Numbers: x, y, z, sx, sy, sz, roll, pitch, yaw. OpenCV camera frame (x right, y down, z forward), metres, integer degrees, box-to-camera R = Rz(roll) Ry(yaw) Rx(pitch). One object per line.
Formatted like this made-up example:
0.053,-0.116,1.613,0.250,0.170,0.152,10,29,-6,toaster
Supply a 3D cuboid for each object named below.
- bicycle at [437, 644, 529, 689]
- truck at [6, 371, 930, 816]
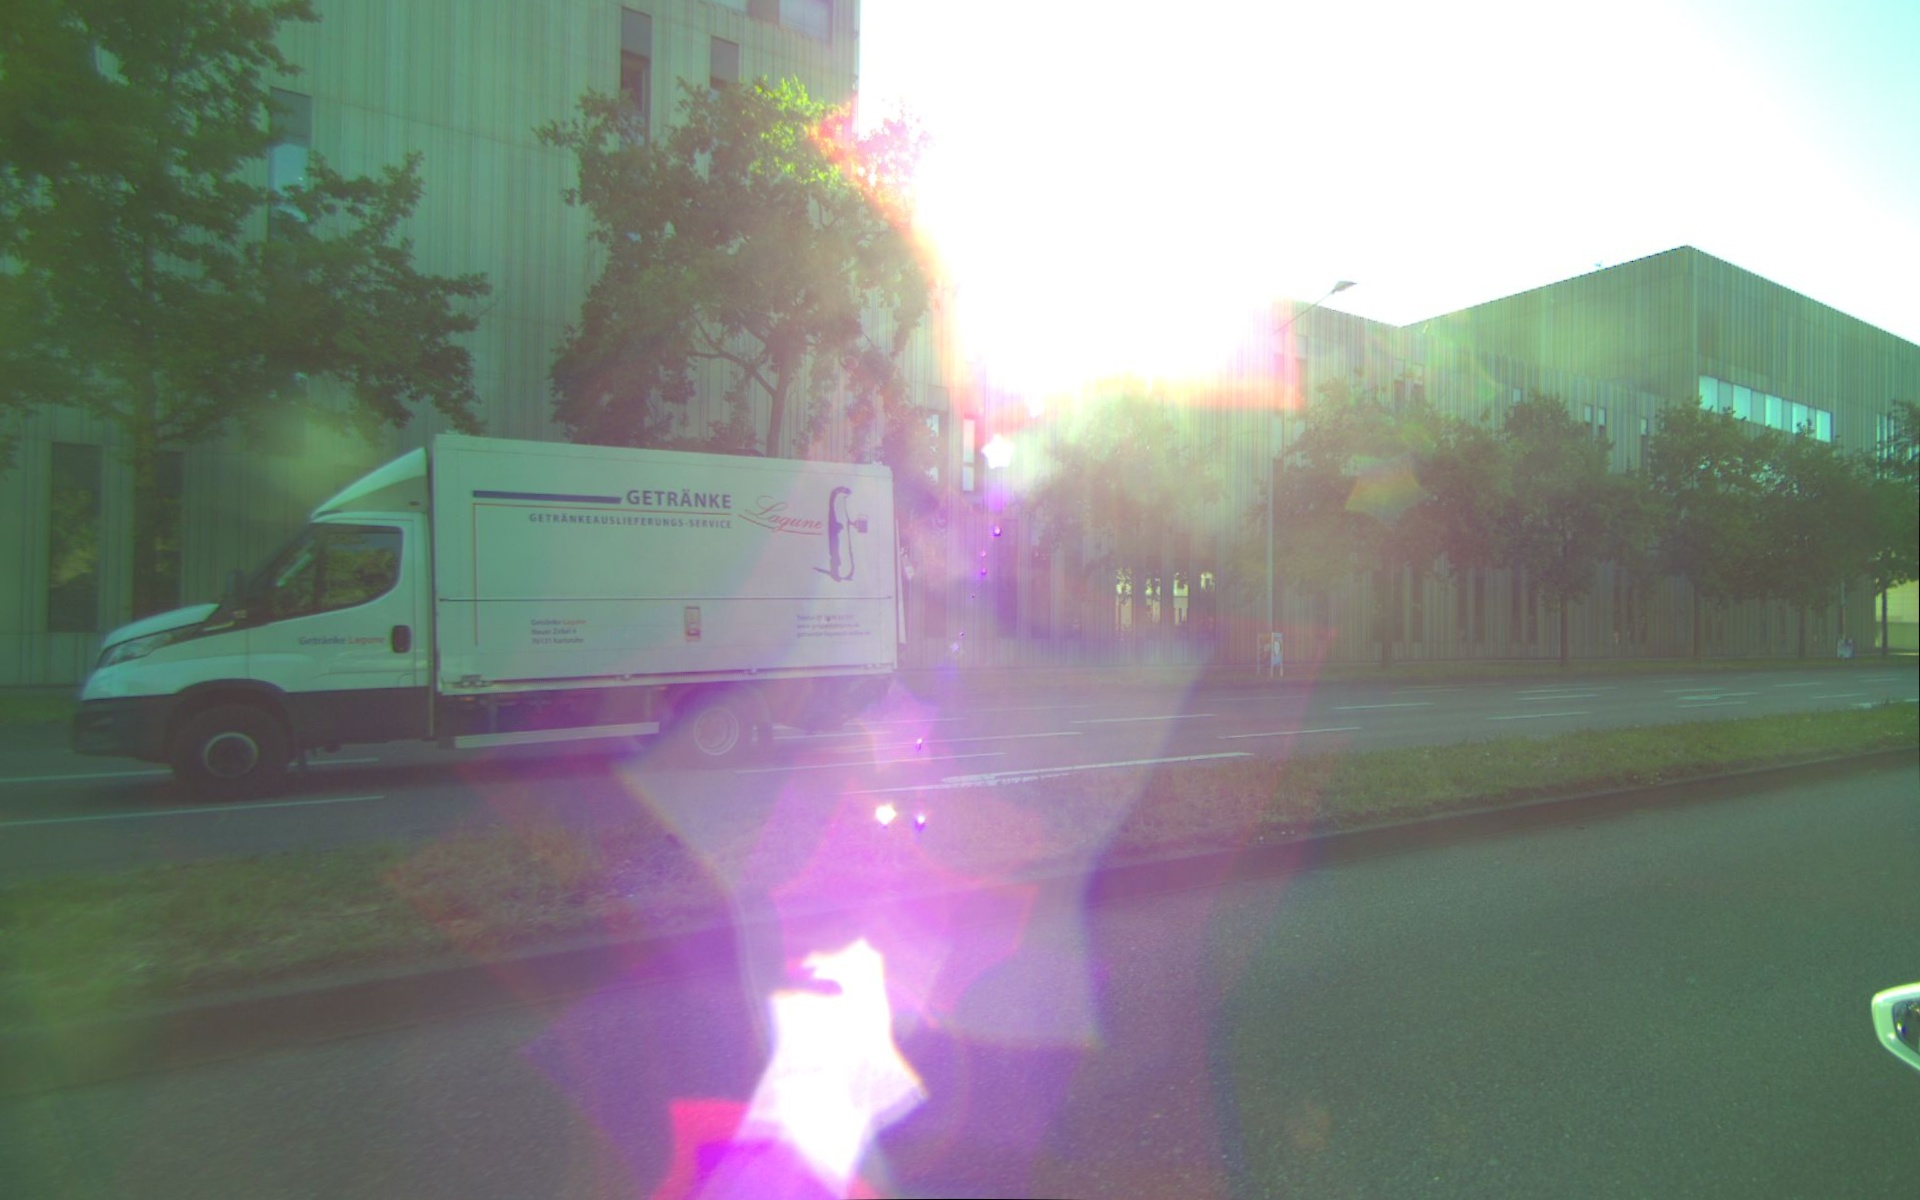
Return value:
-10.232,1.413,21.558,1.735,0.902,0.509,1,-1,-32,bicycle
-3.997,0.077,9.711,7.031,2.999,2.674,1,-3,-30,truck
